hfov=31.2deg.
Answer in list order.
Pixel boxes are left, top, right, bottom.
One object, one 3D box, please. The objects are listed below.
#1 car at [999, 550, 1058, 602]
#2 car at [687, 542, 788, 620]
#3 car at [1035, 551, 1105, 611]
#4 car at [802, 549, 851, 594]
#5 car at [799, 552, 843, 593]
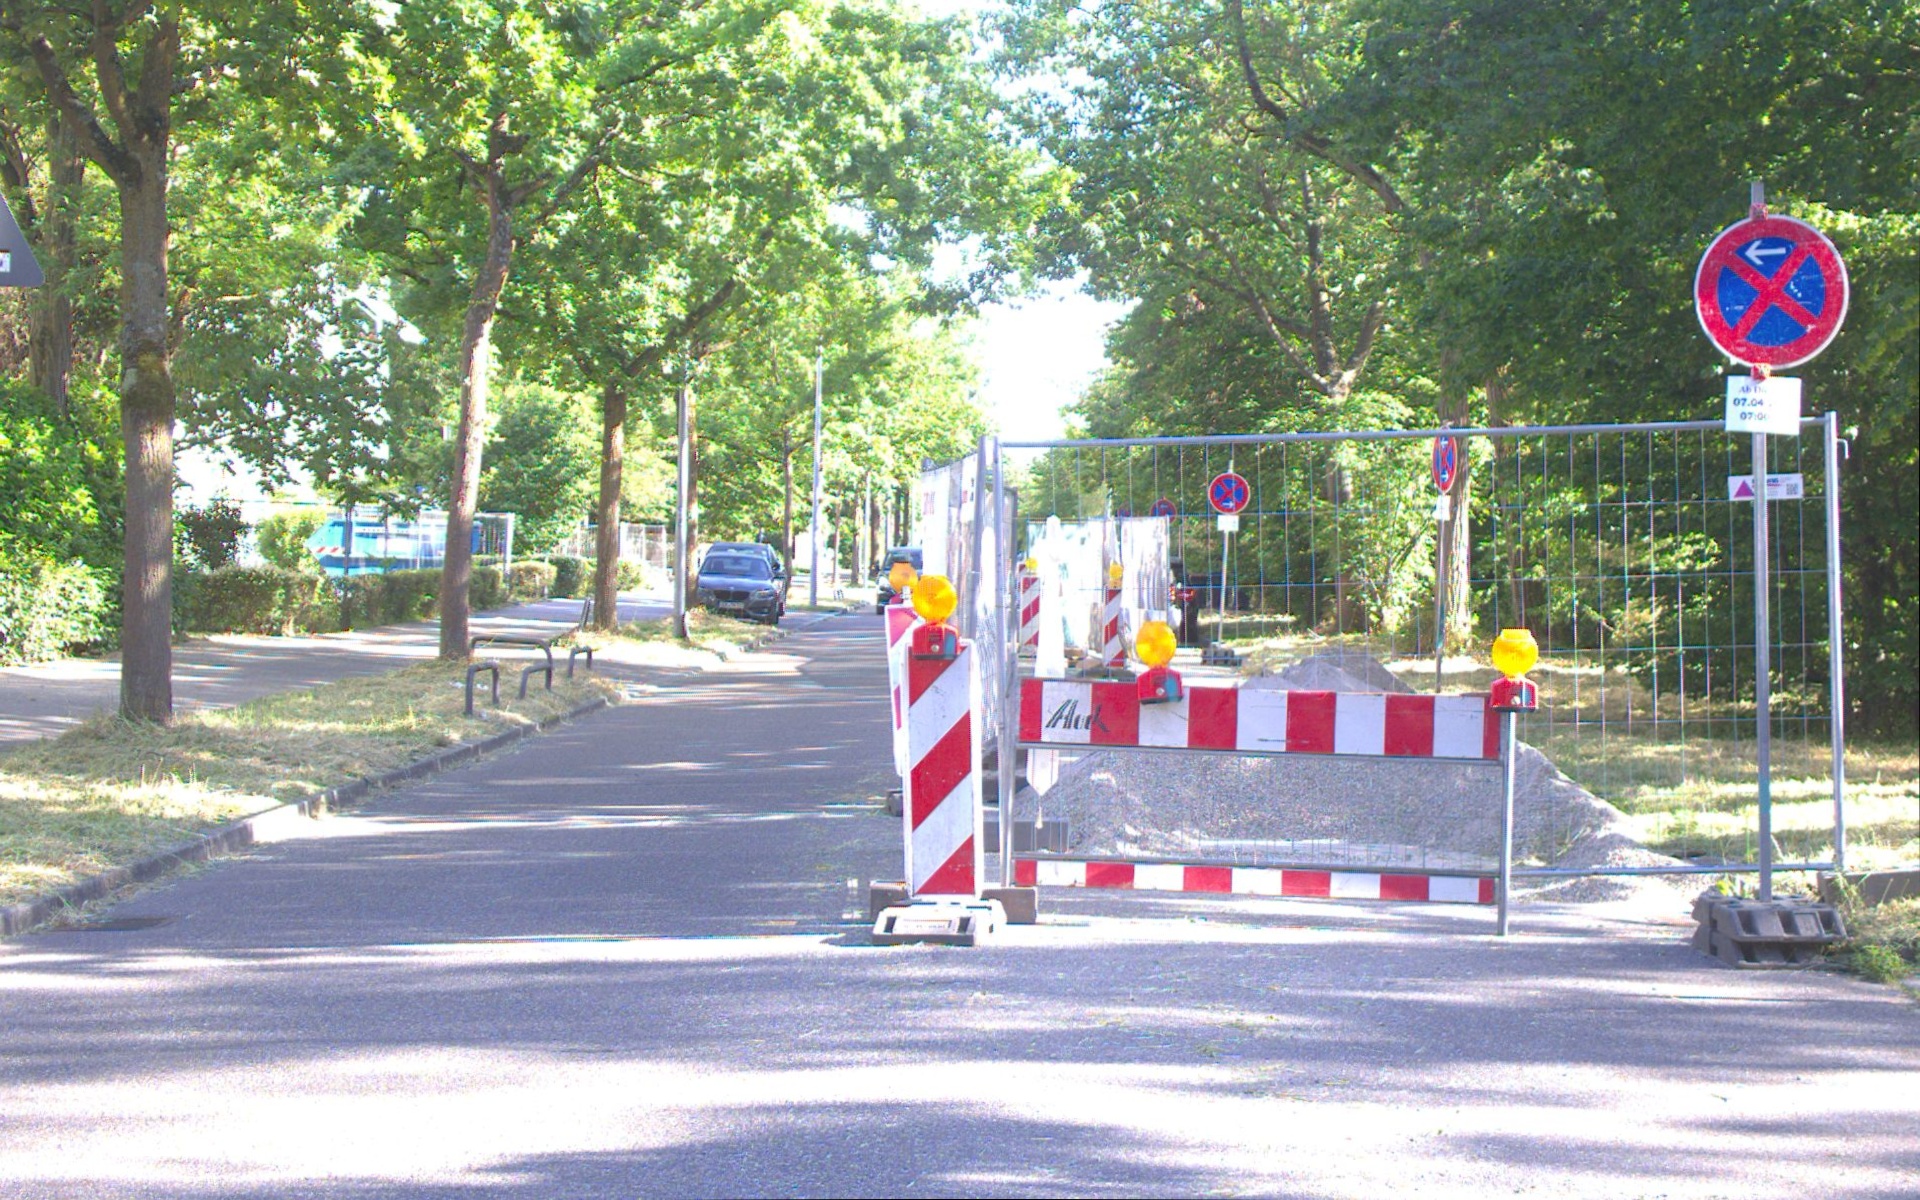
[{"bbox_3d":[1.794,-0.621,91.010,1.361,1.298,3.481,2,0,-1],"label":"car"},{"bbox_3d":[-4.399,-0.402,68.405,1.751,1.473,3.836,1,1,0],"label":"car"},{"bbox_3d":[2.479,-0.428,78.027,1.361,1.298,3.481,2,0,-1],"label":"car"},{"bbox_3d":[-4.014,-0.857,103.685,1.361,1.298,3.481,2,0,-1],"label":"car"},{"bbox_3d":[-4.663,-0.907,115.430,1.361,1.298,3.481,2,0,-1],"label":"car"}]
